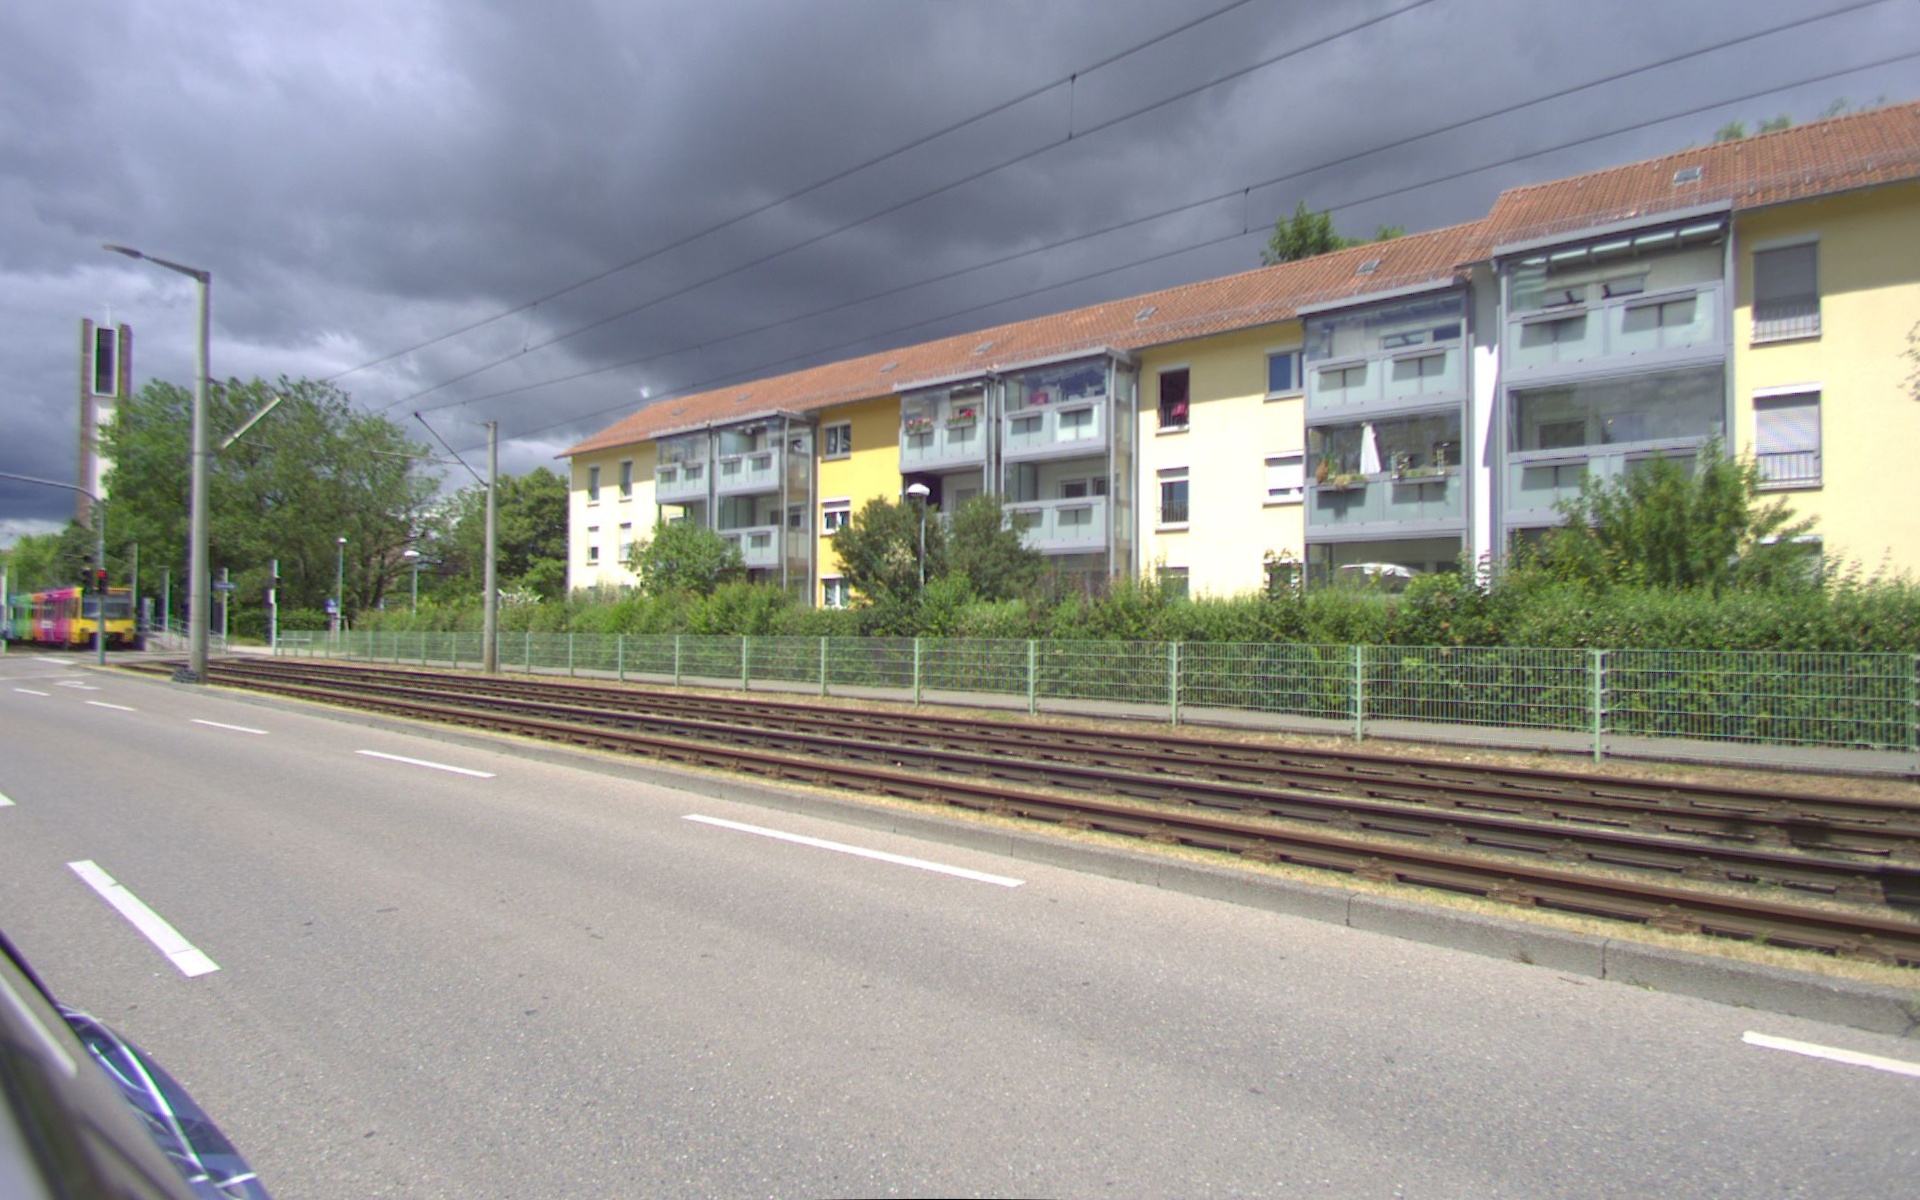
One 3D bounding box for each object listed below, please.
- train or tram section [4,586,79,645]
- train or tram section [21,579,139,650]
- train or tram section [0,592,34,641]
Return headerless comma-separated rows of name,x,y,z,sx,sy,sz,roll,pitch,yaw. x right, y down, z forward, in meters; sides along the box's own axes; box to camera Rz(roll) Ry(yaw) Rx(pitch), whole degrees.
train or tram section,-64.453,1.054,70.922,8.373,3.892,2.949,-1,0,41
train or tram section,-54.282,0.891,62.065,18.528,3.892,2.949,-1,0,41
train or tram section,-81.020,1.413,85.354,12.194,3.892,2.949,-1,0,41
